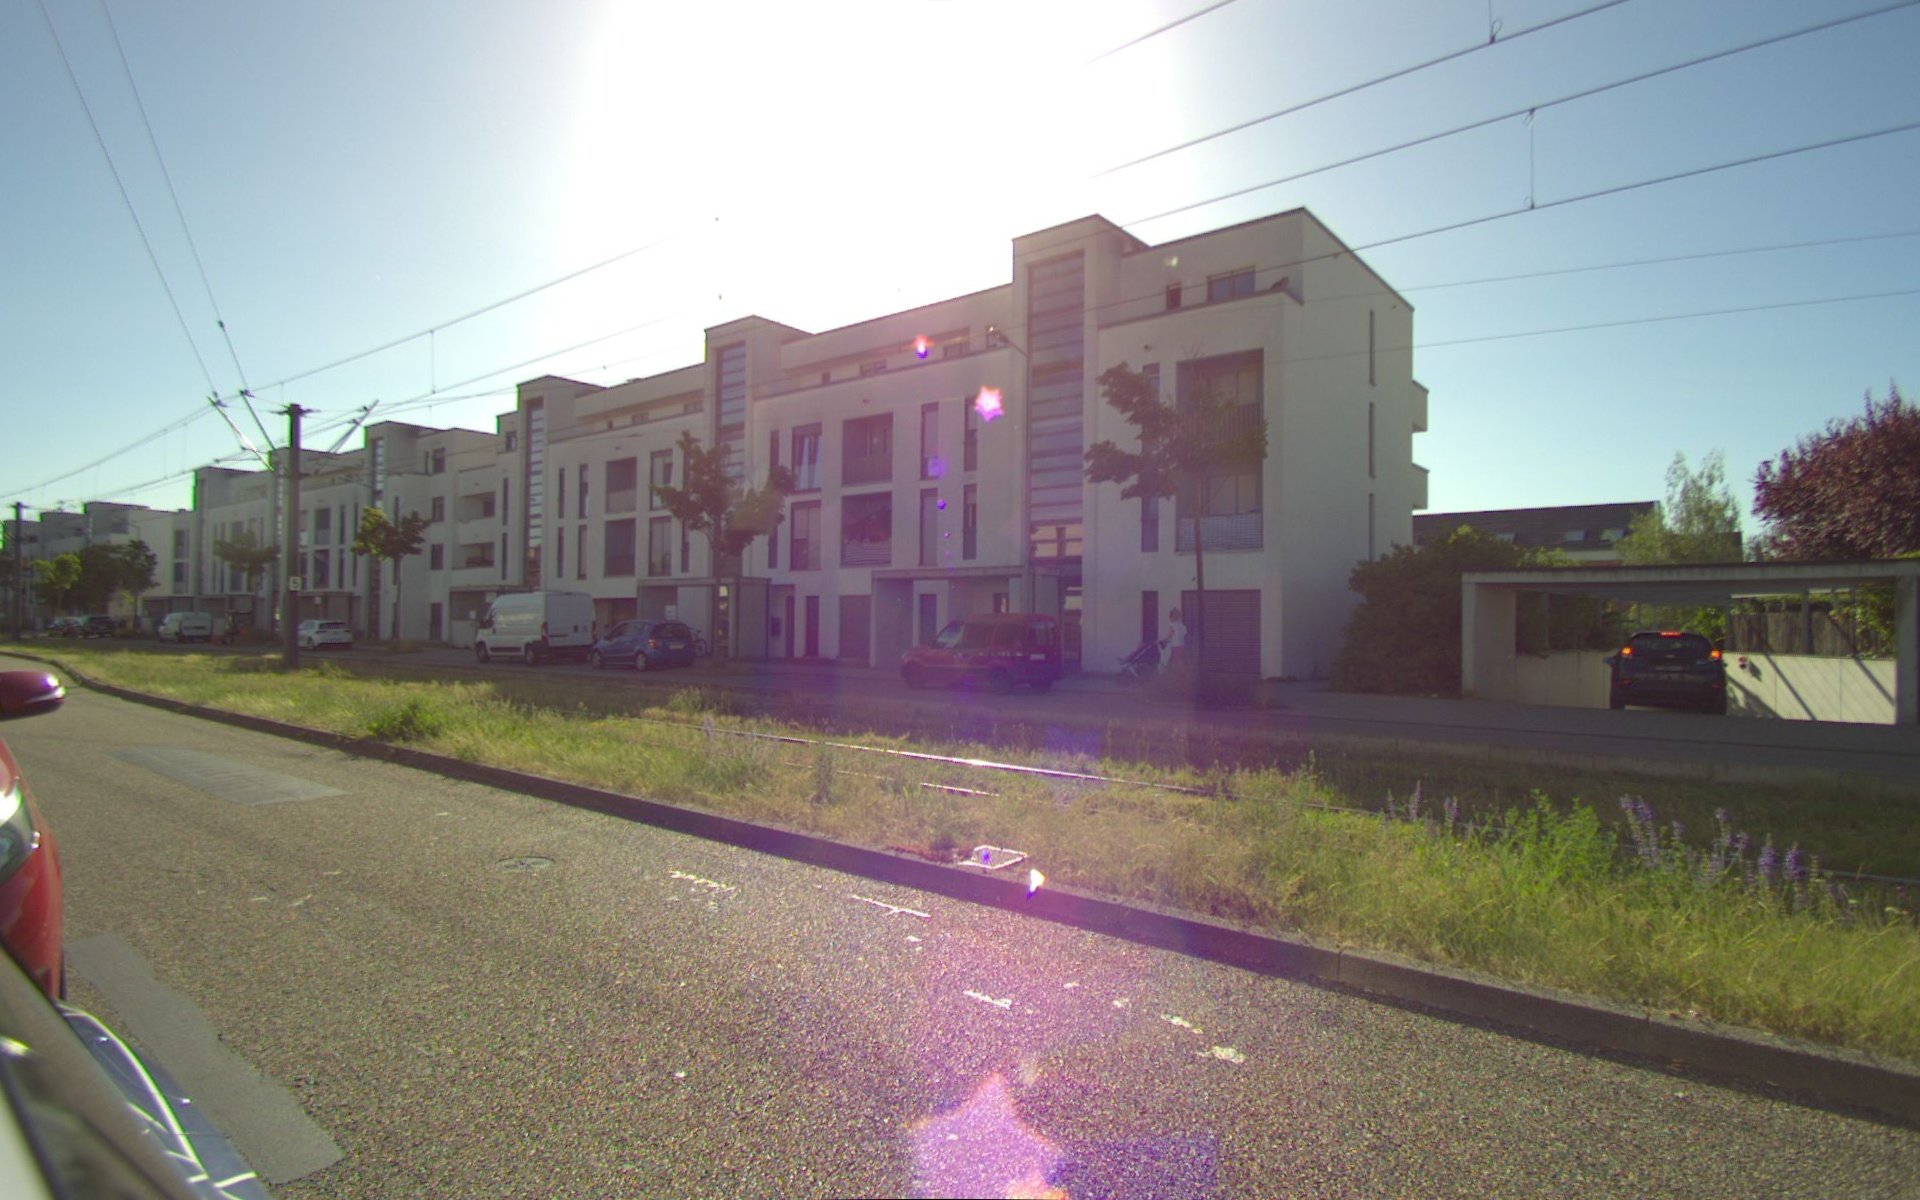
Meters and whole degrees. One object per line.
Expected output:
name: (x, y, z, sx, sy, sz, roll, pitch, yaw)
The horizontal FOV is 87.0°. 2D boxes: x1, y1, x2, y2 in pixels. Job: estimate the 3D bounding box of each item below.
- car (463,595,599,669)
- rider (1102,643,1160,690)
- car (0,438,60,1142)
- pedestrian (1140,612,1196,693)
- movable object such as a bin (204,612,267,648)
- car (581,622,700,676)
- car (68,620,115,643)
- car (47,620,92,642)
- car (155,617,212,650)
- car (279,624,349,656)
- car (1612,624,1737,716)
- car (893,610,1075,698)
car: (-15.366, 1.112, 36.093, 5.583, 2.463, 2.119, -1, -1, 39)
rider: (3.947, 1.522, 23.377, 0.769, 1.010, 1.046, 0, -1, -44)
car: (-5.162, 0.575, 3.895, 5.203, 1.948, 1.954, -1, 0, 42)
pedestrian: (4.650, 1.151, 22.658, 0.806, 1.761, 0.910, 0, -1, -44)
movable object such as a bin: (-41.143, 1.700, 57.479, 4.149, 1.952, 1.745, -1, -1, 37)
car: (-10.026, 1.488, 31.617, 3.840, 1.548, 1.805, -1, -1, 41)
car: (-63.031, 2.288, 73.400, 4.149, 1.611, 1.745, -1, -1, 37)
car: (-67.552, 2.364, 76.771, 4.149, 1.611, 1.745, -1, -1, 37)
car: (-47.270, 2.019, 61.577, 4.149, 1.884, 1.745, -1, -1, 37)
car: (-31.204, 1.911, 48.837, 4.149, 1.443, 1.503, -1, -1, 37)
car: (13.122, 1.192, 18.507, 1.706, 1.441, 3.692, 1, 0, 38)
car: (0.498, 1.157, 23.009, 3.836, 1.809, 1.861, -1, -1, 42)
